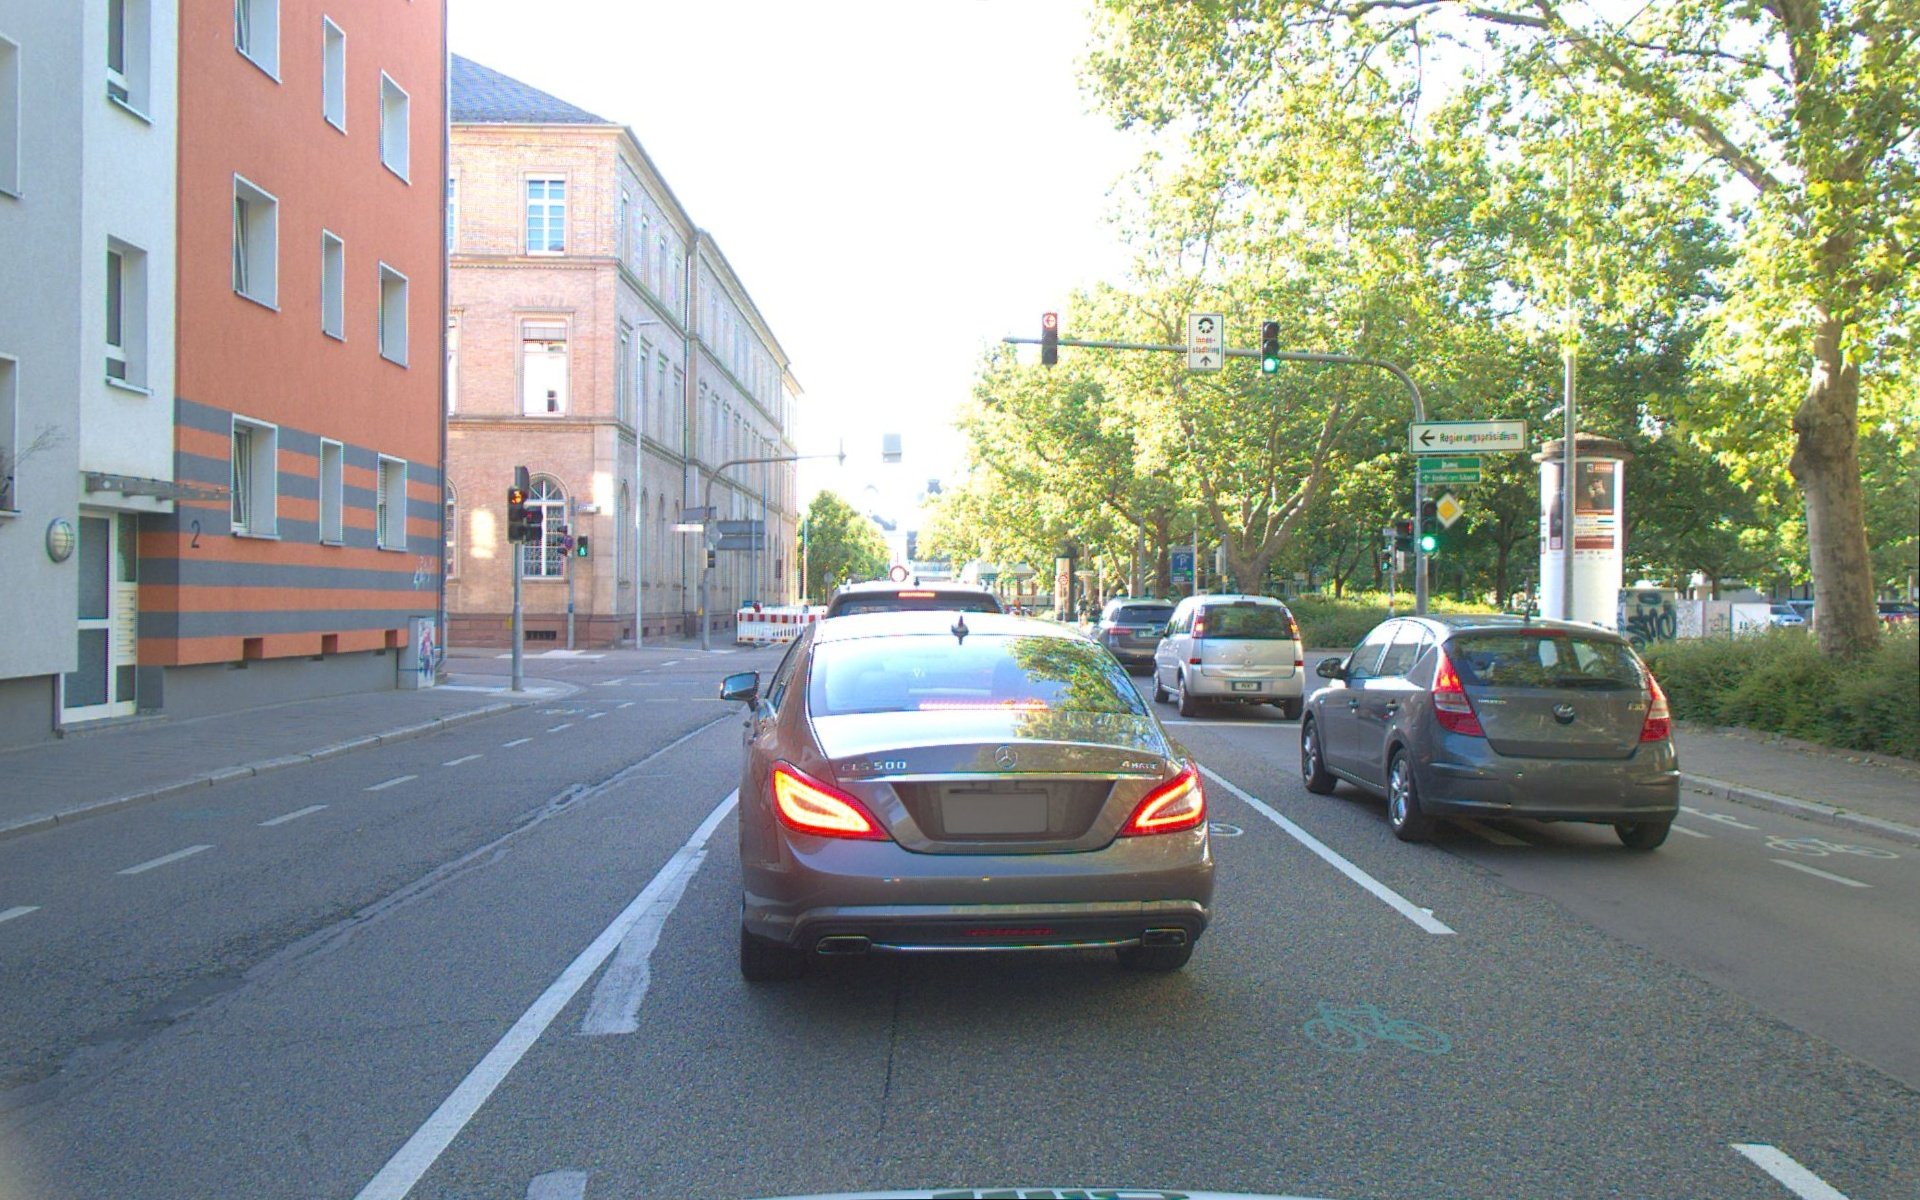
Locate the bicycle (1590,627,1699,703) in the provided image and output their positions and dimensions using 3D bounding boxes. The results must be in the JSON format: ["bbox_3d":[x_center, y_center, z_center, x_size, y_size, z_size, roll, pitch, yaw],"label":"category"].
[{"bbox_3d":[9.870,0.922,23.823,1.868,1.046,0.633,1,-1,-39],"label":"bicycle"}]

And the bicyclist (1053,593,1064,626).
[{"bbox_3d":[6.231,0.602,105.057,0.583,2.075,0.565,1,-1,-5],"label":"bicyclist"}]

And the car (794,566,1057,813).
[{"bbox_3d":[-0.271,0.620,13.578,1.823,1.712,3.999,1,0,-1],"label":"car"}]

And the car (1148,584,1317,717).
[{"bbox_3d":[3.745,0.664,23.299,1.696,1.691,3.680,1,0,-1],"label":"car"}]

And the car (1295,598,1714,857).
[{"bbox_3d":[3.712,0.770,12.031,1.670,1.545,3.999,1,0,-1],"label":"car"}]

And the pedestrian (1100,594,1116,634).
[{"bbox_3d":[6.689,0.617,74.755,0.623,1.791,0.698,1,-1,-5],"label":"pedestrian"}]

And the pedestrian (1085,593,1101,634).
[{"bbox_3d":[6.019,0.608,74.791,0.623,1.828,0.698,1,-1,-5],"label":"pedestrian"}]

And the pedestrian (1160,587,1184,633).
[{"bbox_3d":[7.316,0.356,57.025,0.623,1.572,0.909,1,0,-5],"label":"pedestrian"}]

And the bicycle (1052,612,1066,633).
[{"bbox_3d":[6.277,1.403,105.066,0.580,1.285,1.804,1,0,-5],"label":"bicycle"}]

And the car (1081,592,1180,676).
[{"bbox_3d":[3.419,0.661,33.671,1.568,1.576,3.680,1,0,-1],"label":"car"}]

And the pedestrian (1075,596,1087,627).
[{"bbox_3d":[6.215,0.593,85.168,0.545,1.535,0.345,1,-1,-5],"label":"pedestrian"}]

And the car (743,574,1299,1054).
[{"bbox_3d":[-0.035,0.690,7.450,1.826,1.545,3.993,1,0,-8],"label":"car"}]
